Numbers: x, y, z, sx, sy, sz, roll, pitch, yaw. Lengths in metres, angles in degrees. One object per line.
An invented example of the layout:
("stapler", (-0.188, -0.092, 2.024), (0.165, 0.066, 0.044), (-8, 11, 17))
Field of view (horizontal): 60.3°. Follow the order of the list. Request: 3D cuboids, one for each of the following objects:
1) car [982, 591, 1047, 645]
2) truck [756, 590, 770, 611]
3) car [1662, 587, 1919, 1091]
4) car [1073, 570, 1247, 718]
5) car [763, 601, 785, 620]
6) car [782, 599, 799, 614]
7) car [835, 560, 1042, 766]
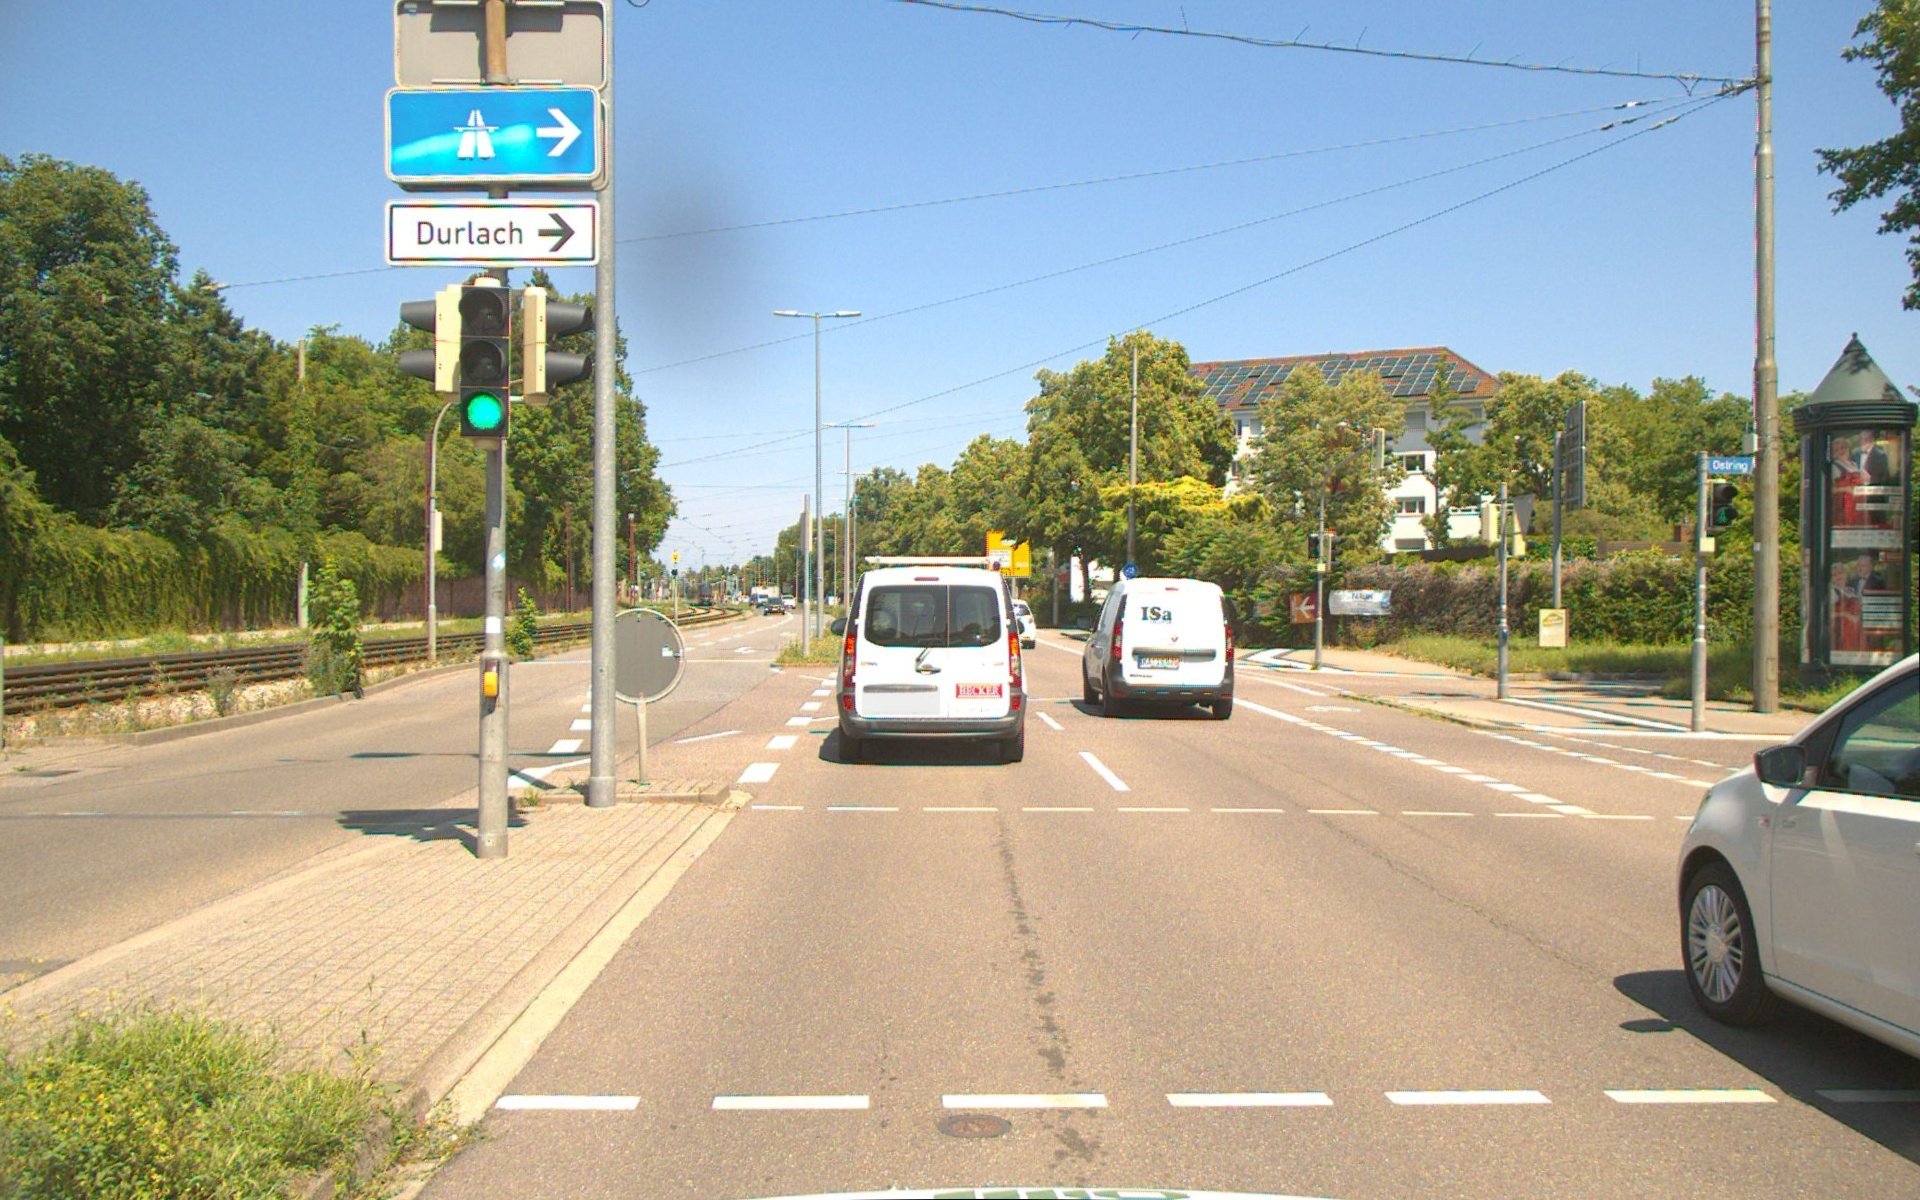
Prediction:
("car", (1.728, 0.540, 53.178), (1.798, 1.596, 3.999), (2, 1, -2))
("truck", (-30.750, 0.081, 257.533), (1.957, 3.270, 5.301), (0, 0, -9))
("car", (3.624, 0.729, 4.856), (1.577, 1.472, 3.435), (2, 1, -1))
("car", (2.664, 0.554, 22.854), (1.693, 1.819, 4.062), (2, 0, -3))
("car", (-16.258, 0.914, 144.393), (1.663, 1.539, 4.063), (0, 0, -3))
("car", (-22.009, 0.830, 214.380), (1.954, 1.847, 3.998), (0, 0, -3))
("car", (-0.254, 0.545, 16.718), (1.784, 1.770, 4.394), (1, 0, -2))
